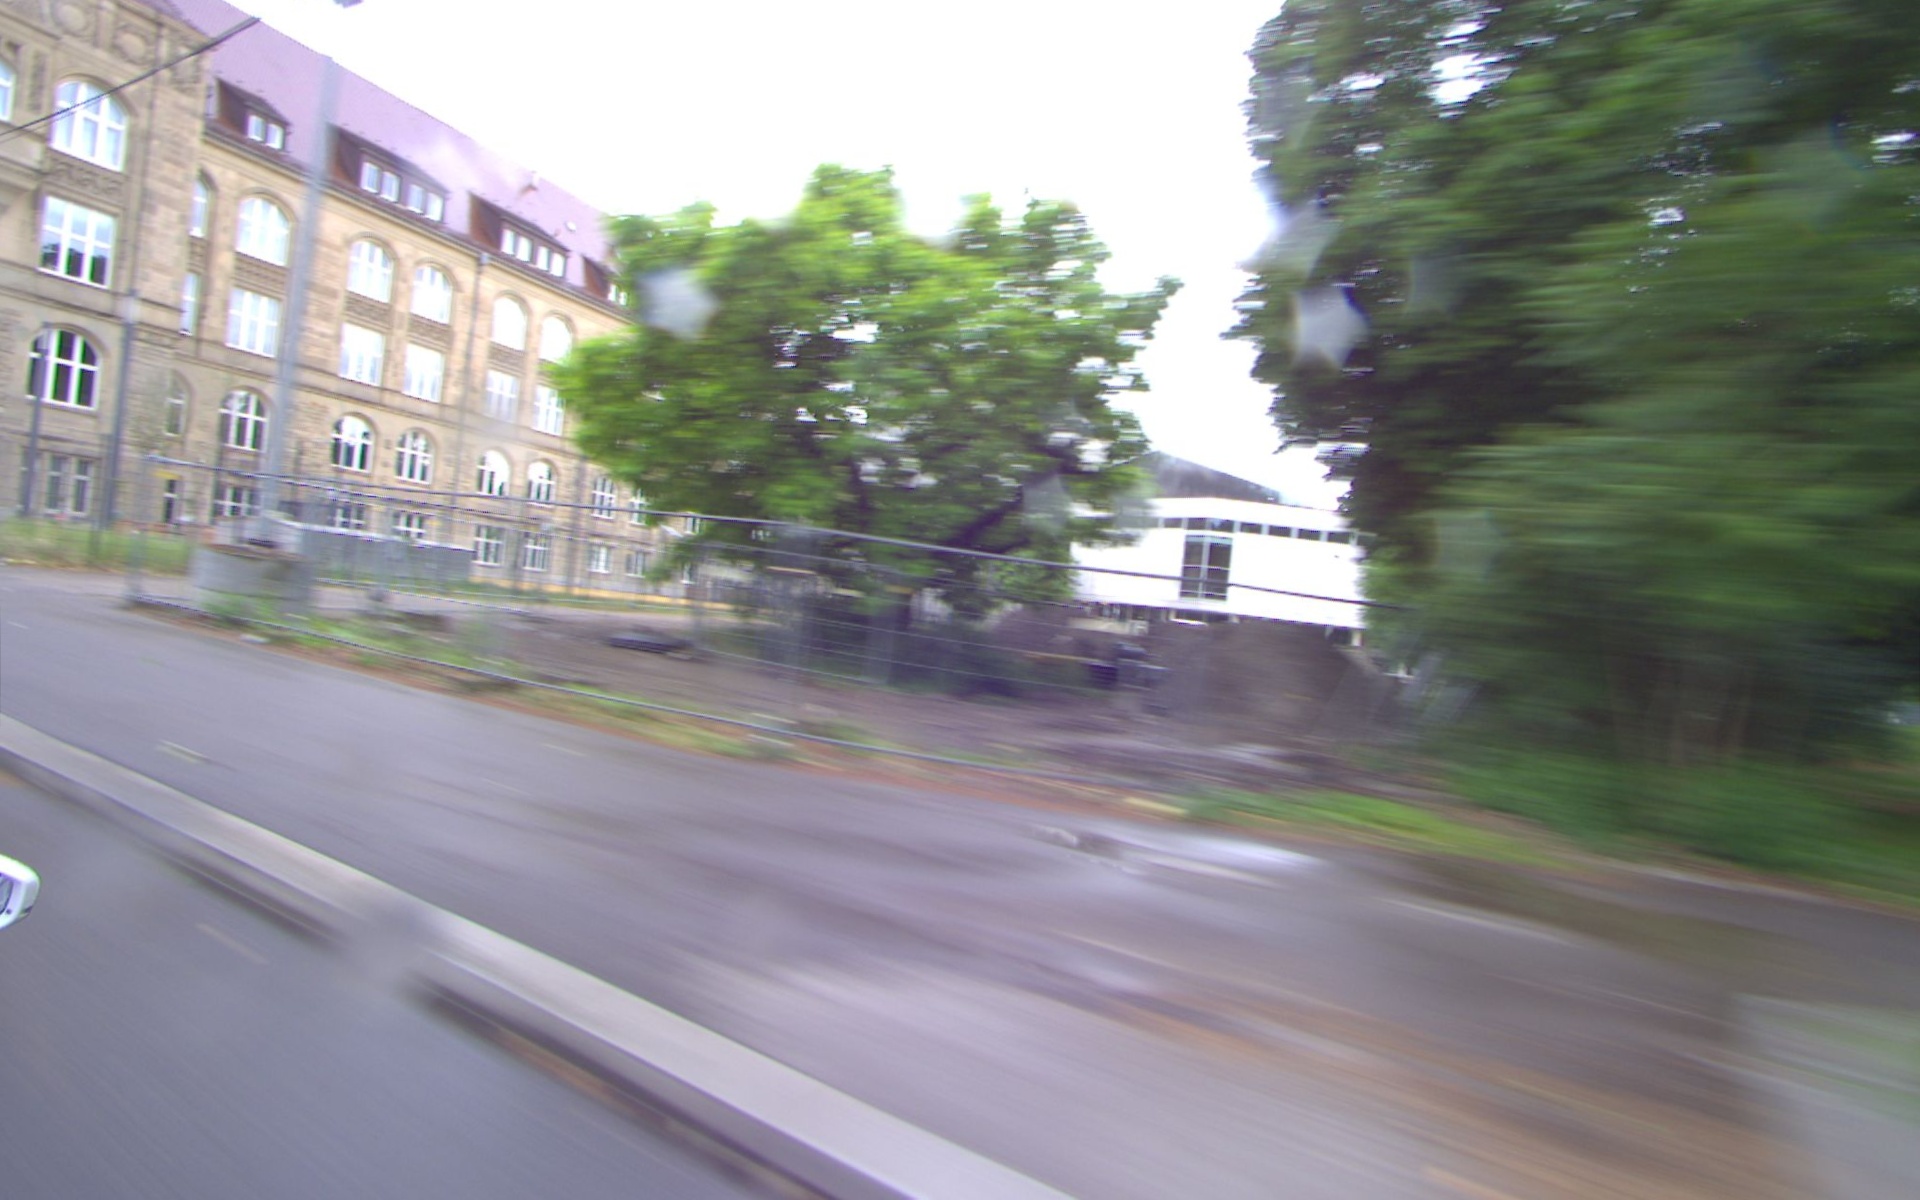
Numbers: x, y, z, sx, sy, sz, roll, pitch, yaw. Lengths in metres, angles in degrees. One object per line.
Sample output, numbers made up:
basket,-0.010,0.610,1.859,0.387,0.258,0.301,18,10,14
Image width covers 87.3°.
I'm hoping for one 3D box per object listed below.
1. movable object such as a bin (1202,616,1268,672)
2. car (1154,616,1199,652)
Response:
movable object such as a bin,15.106,2.432,55.043,2.452,2.678,4.572,6,0,26
car,14.000,2.242,64.901,1.964,2.038,3.998,6,-1,23
